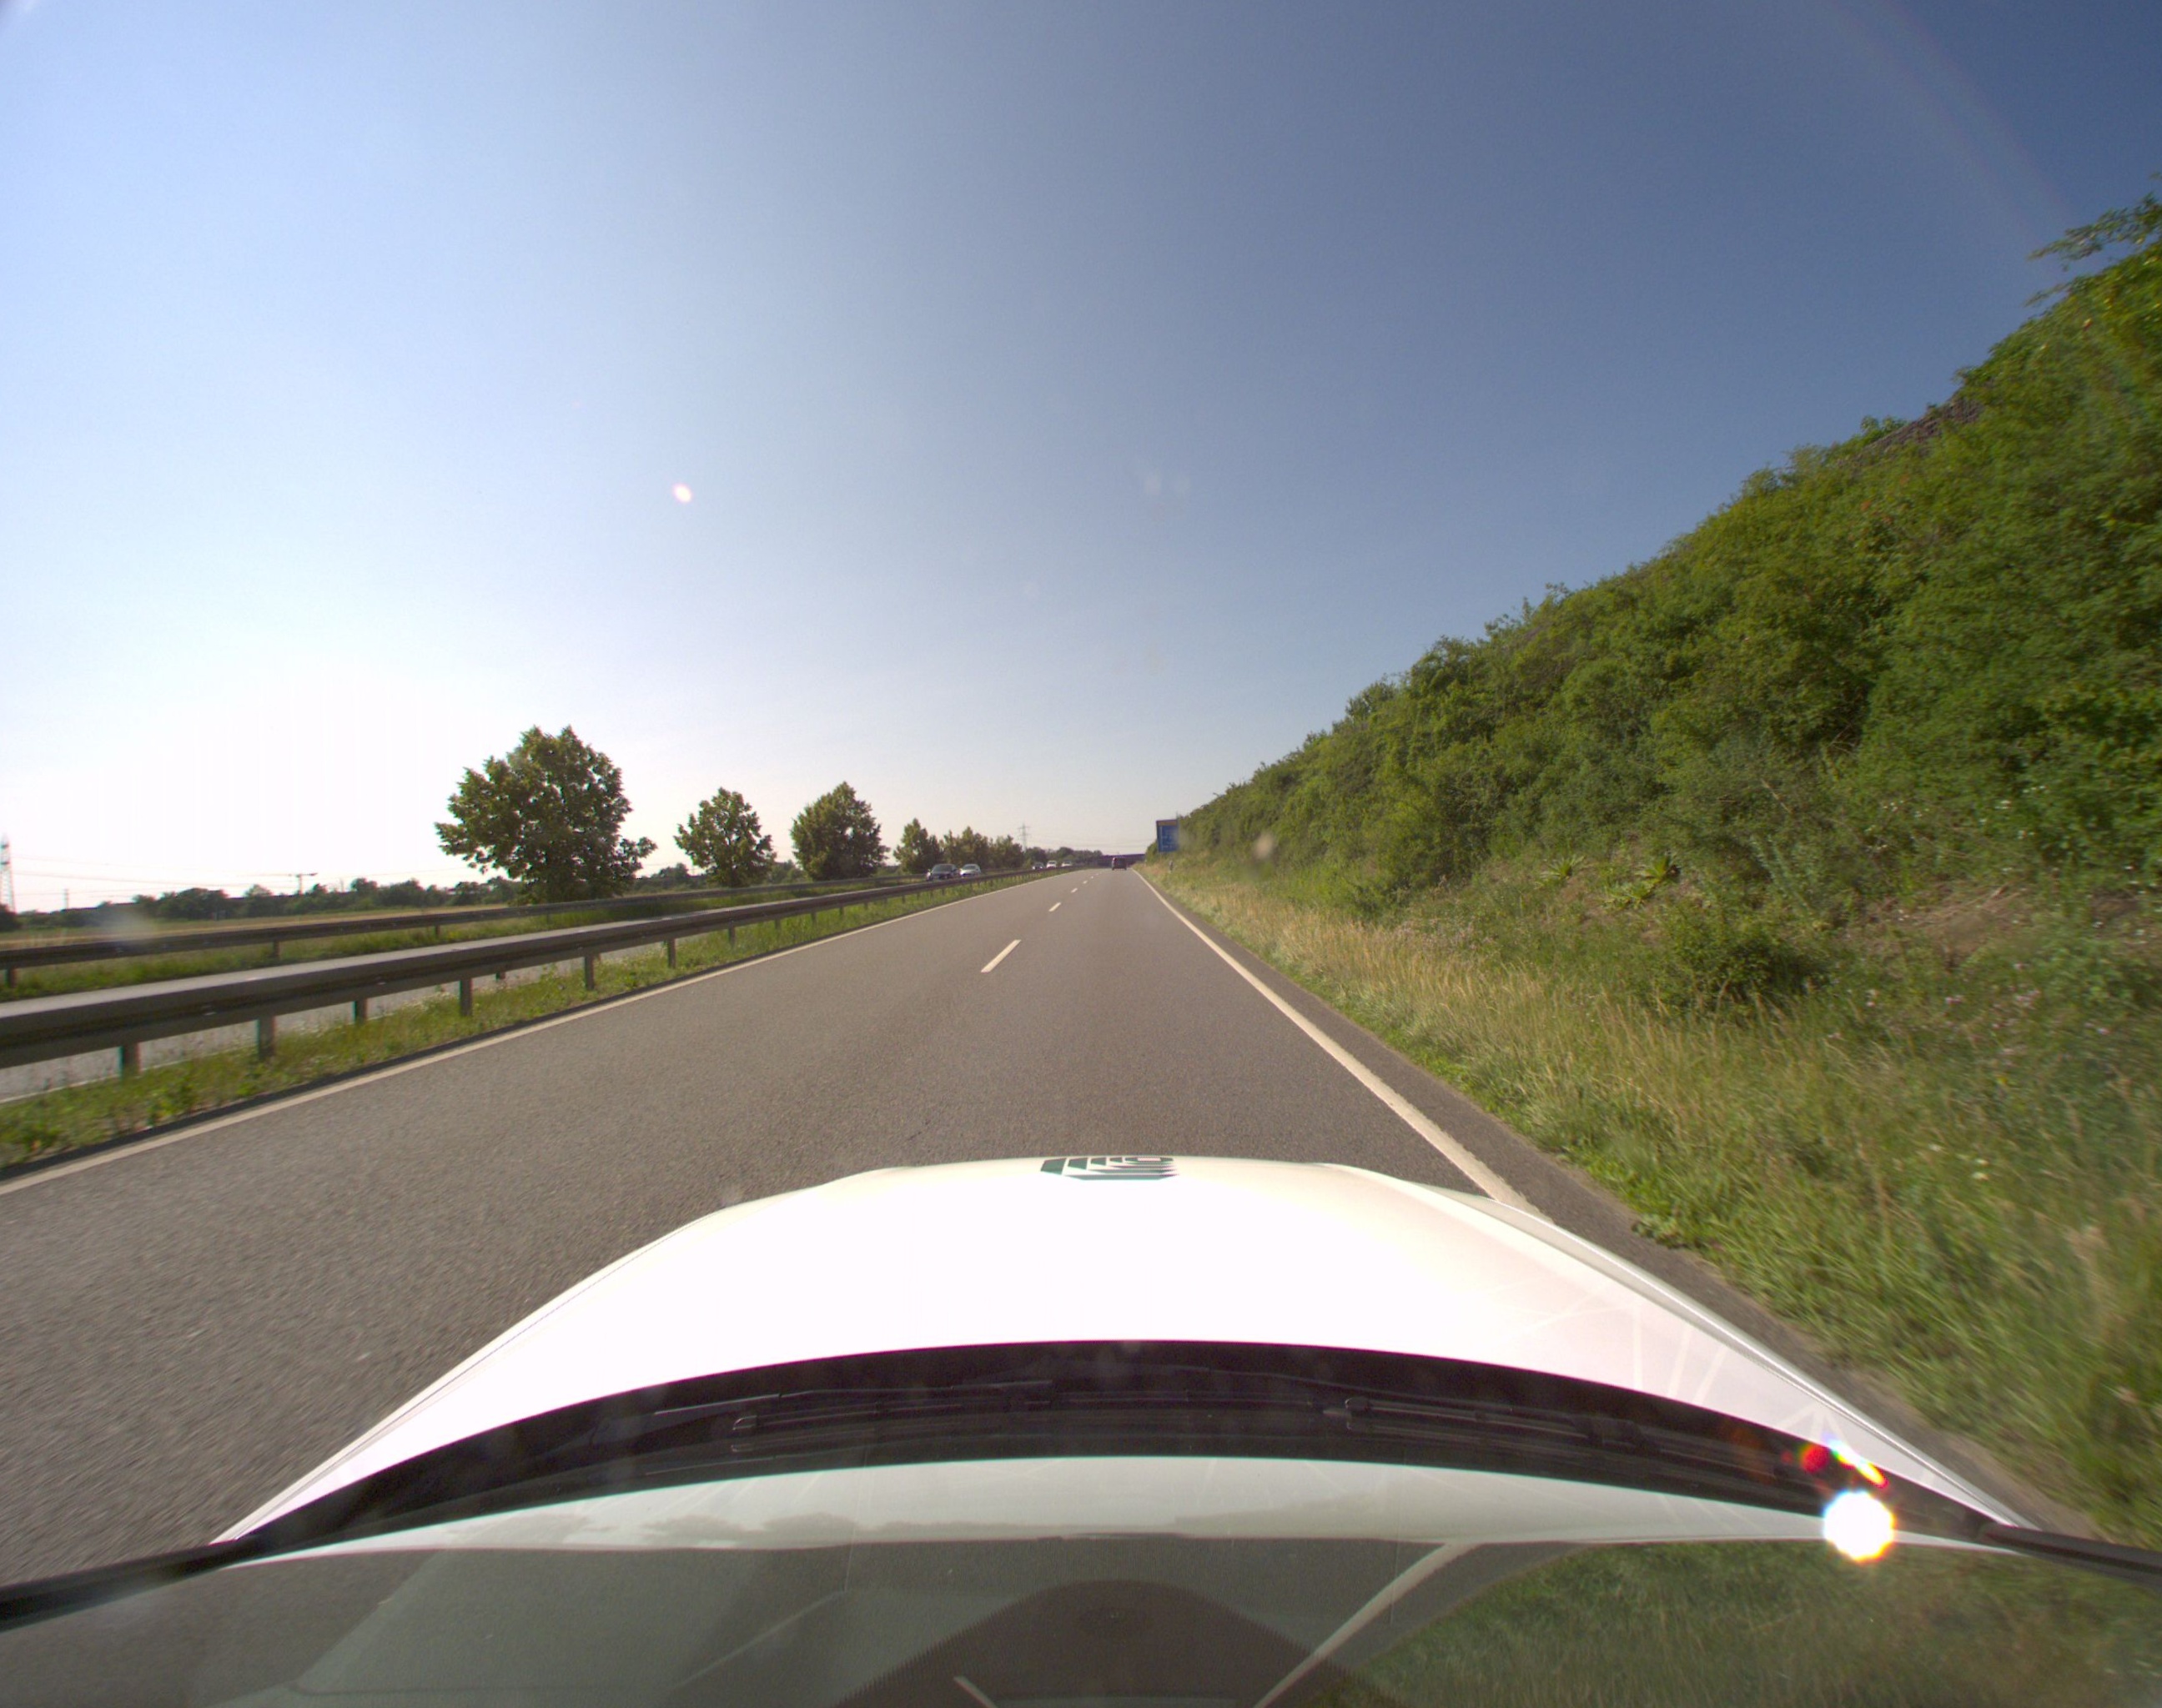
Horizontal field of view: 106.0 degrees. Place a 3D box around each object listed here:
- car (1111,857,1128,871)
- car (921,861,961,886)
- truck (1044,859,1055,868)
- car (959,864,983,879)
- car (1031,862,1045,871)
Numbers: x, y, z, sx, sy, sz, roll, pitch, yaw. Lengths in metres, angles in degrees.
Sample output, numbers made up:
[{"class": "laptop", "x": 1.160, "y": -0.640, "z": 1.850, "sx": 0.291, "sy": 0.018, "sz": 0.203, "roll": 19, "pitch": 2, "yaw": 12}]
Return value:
[{"class": "car", "x": 4.776, "y": 1.306, "z": 100.993, "sx": 1.840, "sy": 1.644, "sz": 4.006, "roll": -3, "pitch": -1, "yaw": 6}, {"class": "car", "x": -9.509, "y": 1.314, "z": 55.581, "sx": 1.683, "sy": 1.541, "sz": 4.248, "roll": -2, "pitch": 0, "yaw": 4}, {"class": "truck", "x": -6.464, "y": 1.951, "z": 167.372, "sx": 1.915, "sy": 1.840, "sz": 5.296, "roll": -2, "pitch": 0, "yaw": 3}, {"class": "car", "x": -10.881, "y": 1.726, "z": 80.830, "sx": 1.683, "sy": 1.437, "sz": 3.942, "roll": -2, "pitch": 0, "yaw": 2}, {"class": "car", "x": -7.391, "y": 2.131, "z": 139.759, "sx": 1.831, "sy": 1.472, "sz": 4.462, "roll": -2, "pitch": 0, "yaw": 3}]
